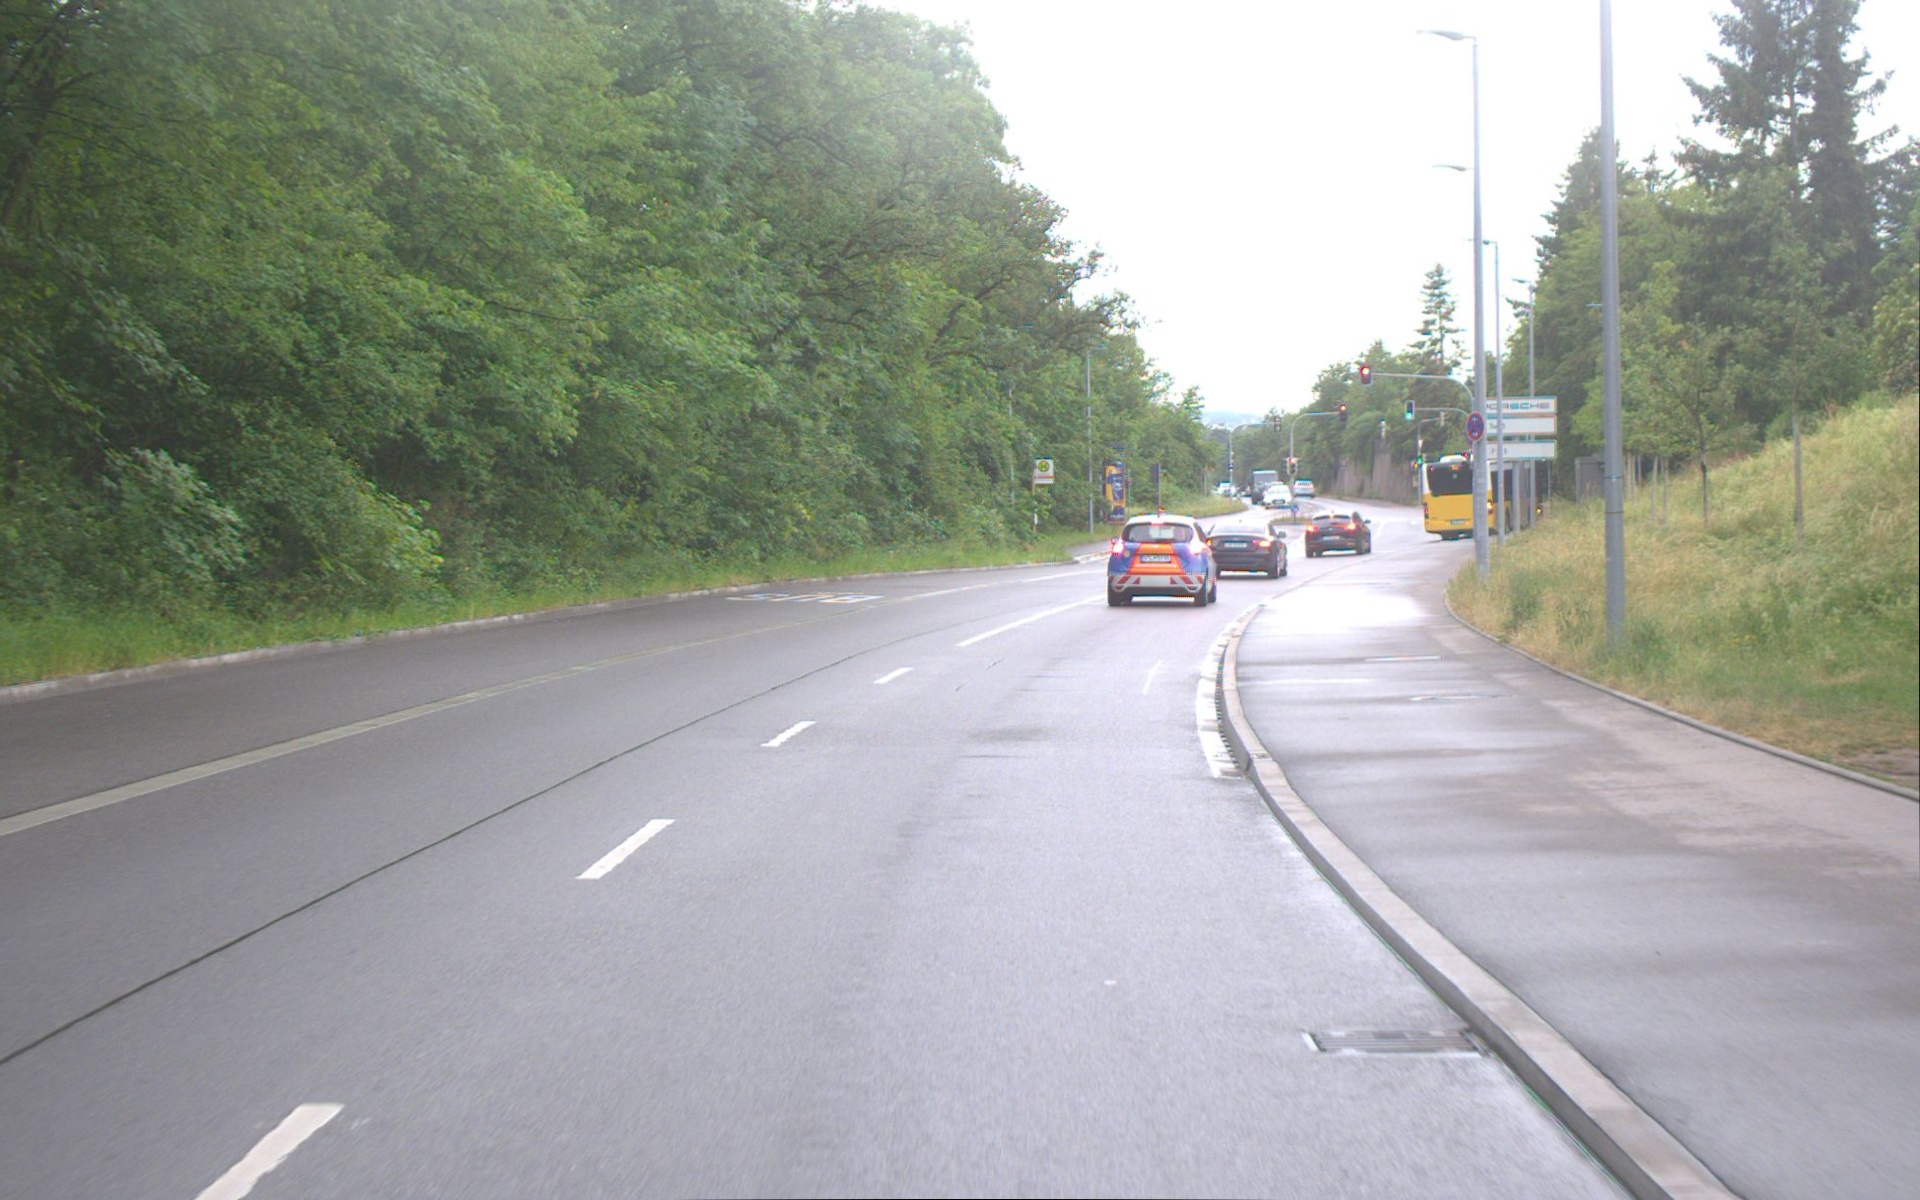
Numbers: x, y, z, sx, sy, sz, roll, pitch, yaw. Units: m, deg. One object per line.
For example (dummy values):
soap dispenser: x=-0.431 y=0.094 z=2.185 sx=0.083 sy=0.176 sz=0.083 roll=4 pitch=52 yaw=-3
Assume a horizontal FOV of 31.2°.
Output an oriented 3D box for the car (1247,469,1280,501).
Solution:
car: x=22.760 y=-8.585 z=257.801 sx=2.269 sy=2.327 sz=5.588 roll=0 pitch=1 yaw=3

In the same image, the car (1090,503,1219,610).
car: x=3.452 y=-0.798 z=60.426 sx=1.994 sy=1.683 sz=4.000 roll=-2 pitch=3 yaw=7

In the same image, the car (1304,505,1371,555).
car: x=11.935 y=-2.205 z=108.482 sx=1.994 sy=1.546 sz=3.999 roll=0 pitch=1 yaw=8

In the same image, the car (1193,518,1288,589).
car: x=6.618 y=-1.109 z=80.848 sx=1.928 sy=1.481 sz=3.799 roll=-2 pitch=3 yaw=9

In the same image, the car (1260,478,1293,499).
car: x=21.149 y=-7.444 z=229.798 sx=1.994 sy=1.415 sz=4.000 roll=0 pitch=1 yaw=3

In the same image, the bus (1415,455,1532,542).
bus: x=19.328 y=-3.791 z=128.963 sx=2.819 sy=3.132 sz=9.172 roll=0 pitch=1 yaw=19
